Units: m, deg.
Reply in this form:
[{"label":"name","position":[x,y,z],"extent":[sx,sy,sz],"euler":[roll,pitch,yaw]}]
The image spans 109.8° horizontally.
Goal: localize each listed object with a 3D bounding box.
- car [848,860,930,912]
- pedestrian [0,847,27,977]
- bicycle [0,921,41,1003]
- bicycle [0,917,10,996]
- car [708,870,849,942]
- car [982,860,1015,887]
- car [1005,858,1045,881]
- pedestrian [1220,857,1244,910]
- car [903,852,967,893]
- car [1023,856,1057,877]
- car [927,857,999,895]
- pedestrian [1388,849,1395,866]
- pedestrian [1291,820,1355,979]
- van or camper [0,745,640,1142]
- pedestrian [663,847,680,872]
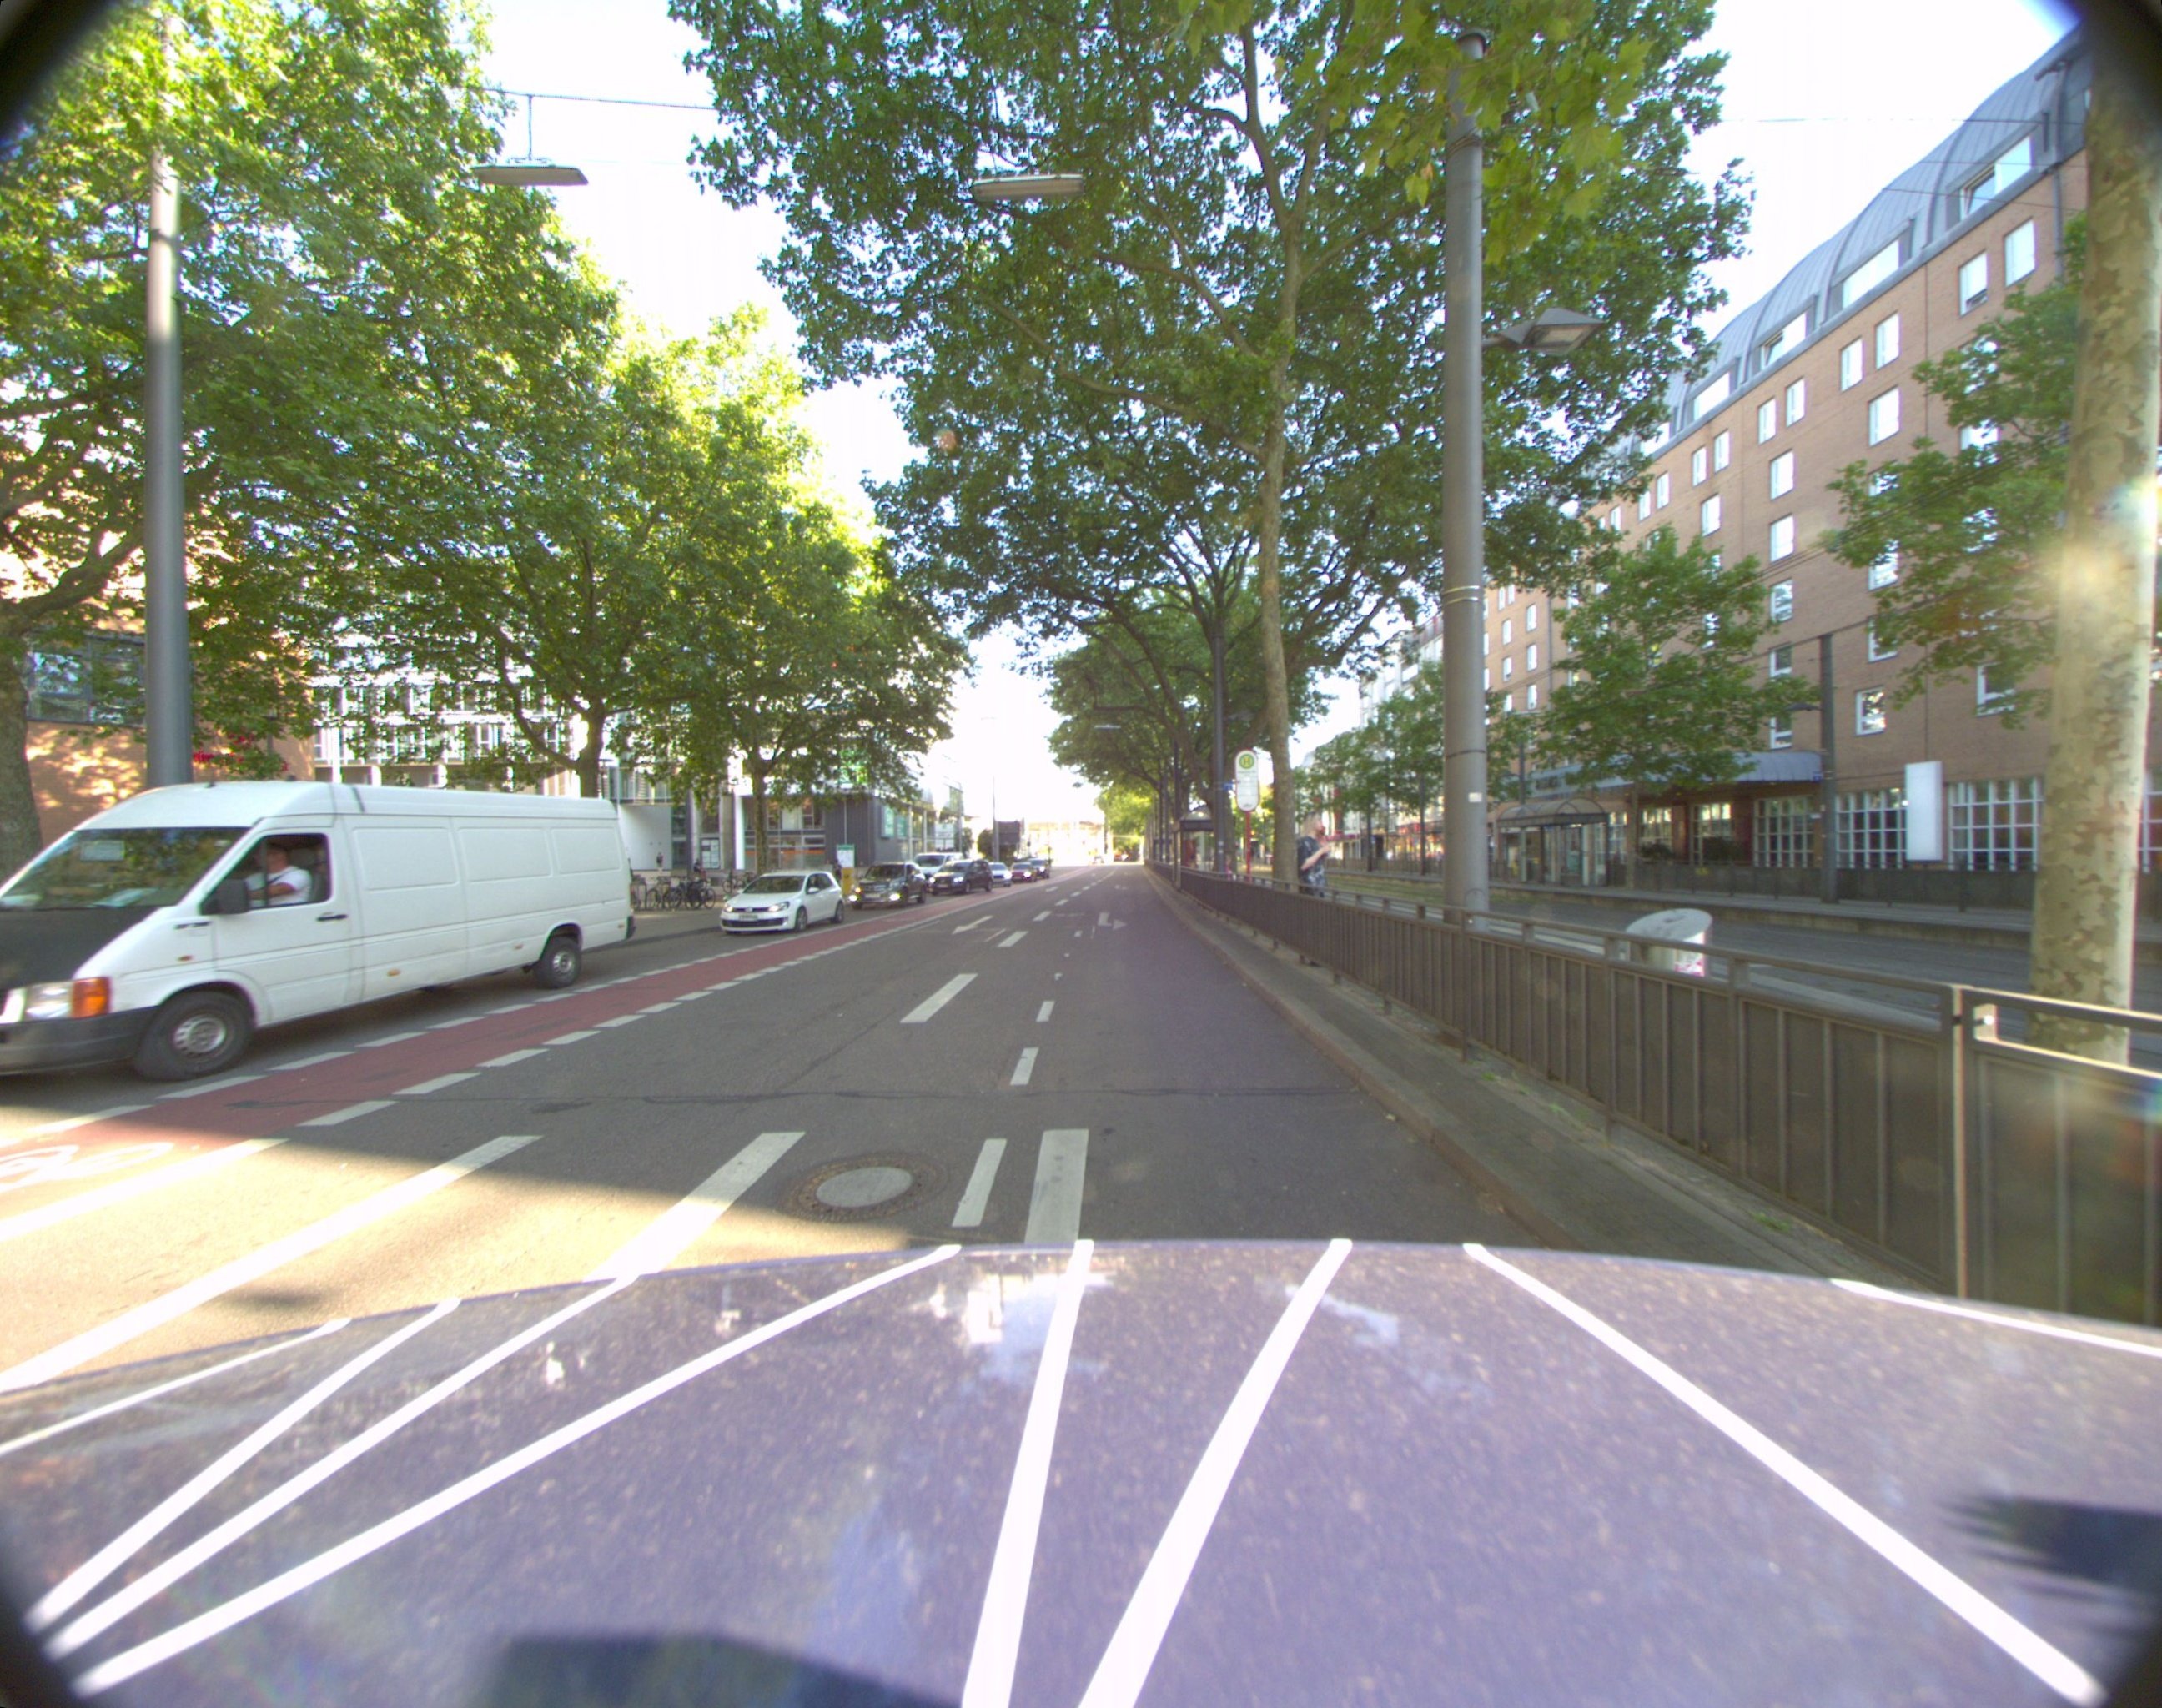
[{"label":"car","position":[-6.817,1.077,27.447],"extent":[1.769,1.626,4.250],"euler":[-2,0,1]},{"label":"pedestrian","position":[-17.080,0.895,11.466],"extent":[0.934,2.002,1.091],"euler":[-1,1,-25]},{"label":"bicycle","position":[-13.259,1.320,7.997],"extent":[0.925,0.943,2.637],"euler":[-2,1,1]},{"label":"bicycle","position":[-14.276,1.339,8.018],"extent":[1.050,0.996,3.412],"euler":[-2,1,1]},{"label":"car","position":[-7.231,1.185,18.626],"extent":[1.639,1.420,3.987],"euler":[-2,0,3]},{"label":"car","position":[-4.944,1.119,45.661],"extent":[1.837,1.481,4.192],"euler":[-2,0,-7]},{"label":"car","position":[-3.912,1.076,53.936],"extent":[1.834,1.481,4.198],"euler":[-3,0,10]},{"label":"pedestrian","position":[3.882,0.749,19.556],"extent":[0.542,1.310,0.524],"euler":[-2,1,12]},{"label":"car","position":[-7.570,0.894,40.004],"extent":[1.933,1.953,5.919],"euler":[-2,0,3]},{"label":"car","position":[-3.300,1.004,62.162],"extent":[1.784,1.481,4.198],"euler":[-3,0,10]},{"label":"car","position":[-5.552,1.009,36.336],"extent":[1.708,1.626,4.395],"euler":[-2,0,14]},{"label":"pedestrian","position":[30.769,0.348,75.354],"extent":[0.504,1.725,0.574],"euler":[-1,1,3]},{"label":"pedestrian","position":[2.865,0.523,9.031],"extent":[0.543,1.823,0.524],"euler":[-2,1,2]},{"label":"van or camper","position":[-7.823,0.591,8.253],"extent":[2.004,2.599,6.499],"euler":[-1,0,3]},{"label":"pedestrian","position":[-32.772,0.424,60.776],"extent":[0.797,2.002,0.875],"euler":[-2,1,1]}]
